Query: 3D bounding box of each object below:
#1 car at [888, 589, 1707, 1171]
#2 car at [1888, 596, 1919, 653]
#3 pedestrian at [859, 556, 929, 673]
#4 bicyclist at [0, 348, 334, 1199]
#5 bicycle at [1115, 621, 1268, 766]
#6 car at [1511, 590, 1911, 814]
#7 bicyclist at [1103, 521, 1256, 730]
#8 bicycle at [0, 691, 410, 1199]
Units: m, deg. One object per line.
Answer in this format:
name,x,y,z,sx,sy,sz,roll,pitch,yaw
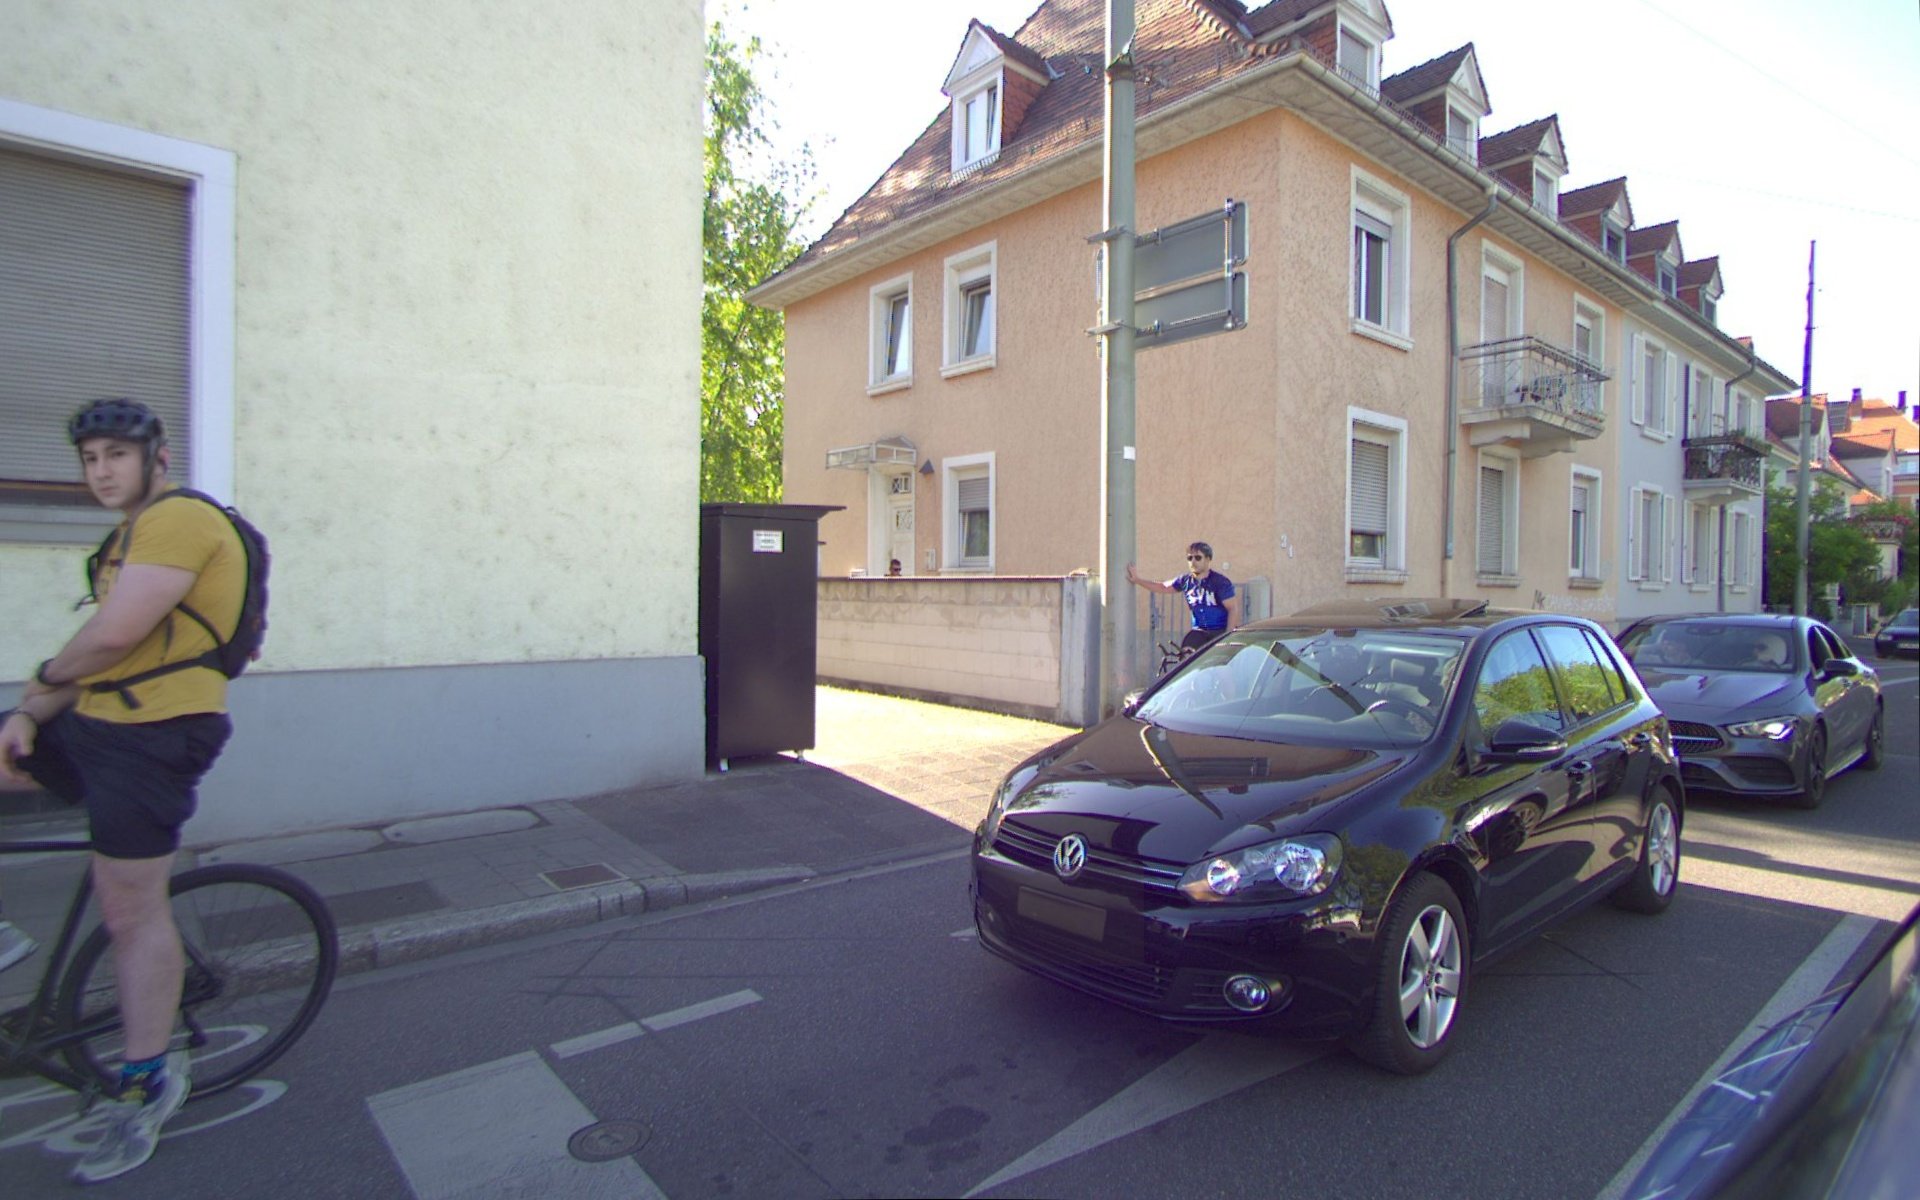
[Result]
car,1.757,0.687,4.499,3.921,1.456,1.716,-1,0,-41
car,26.747,0.630,27.429,4.258,1.448,1.824,-1,0,-40
pedestrian,-0.982,0.195,14.957,0.600,1.624,0.760,0,6,-43
bicyclist,-2.291,0.428,2.742,0.777,1.991,0.768,0,0,36
bicycle,2.074,0.771,8.929,0.554,1.088,1.601,6,4,42
car,6.619,0.687,8.729,4.410,1.449,1.824,1,0,-40
bicyclist,1.953,0.186,9.038,1.018,1.714,0.718,6,4,42
bicycle,-2.474,0.882,2.584,0.777,1.120,1.720,0,0,36
